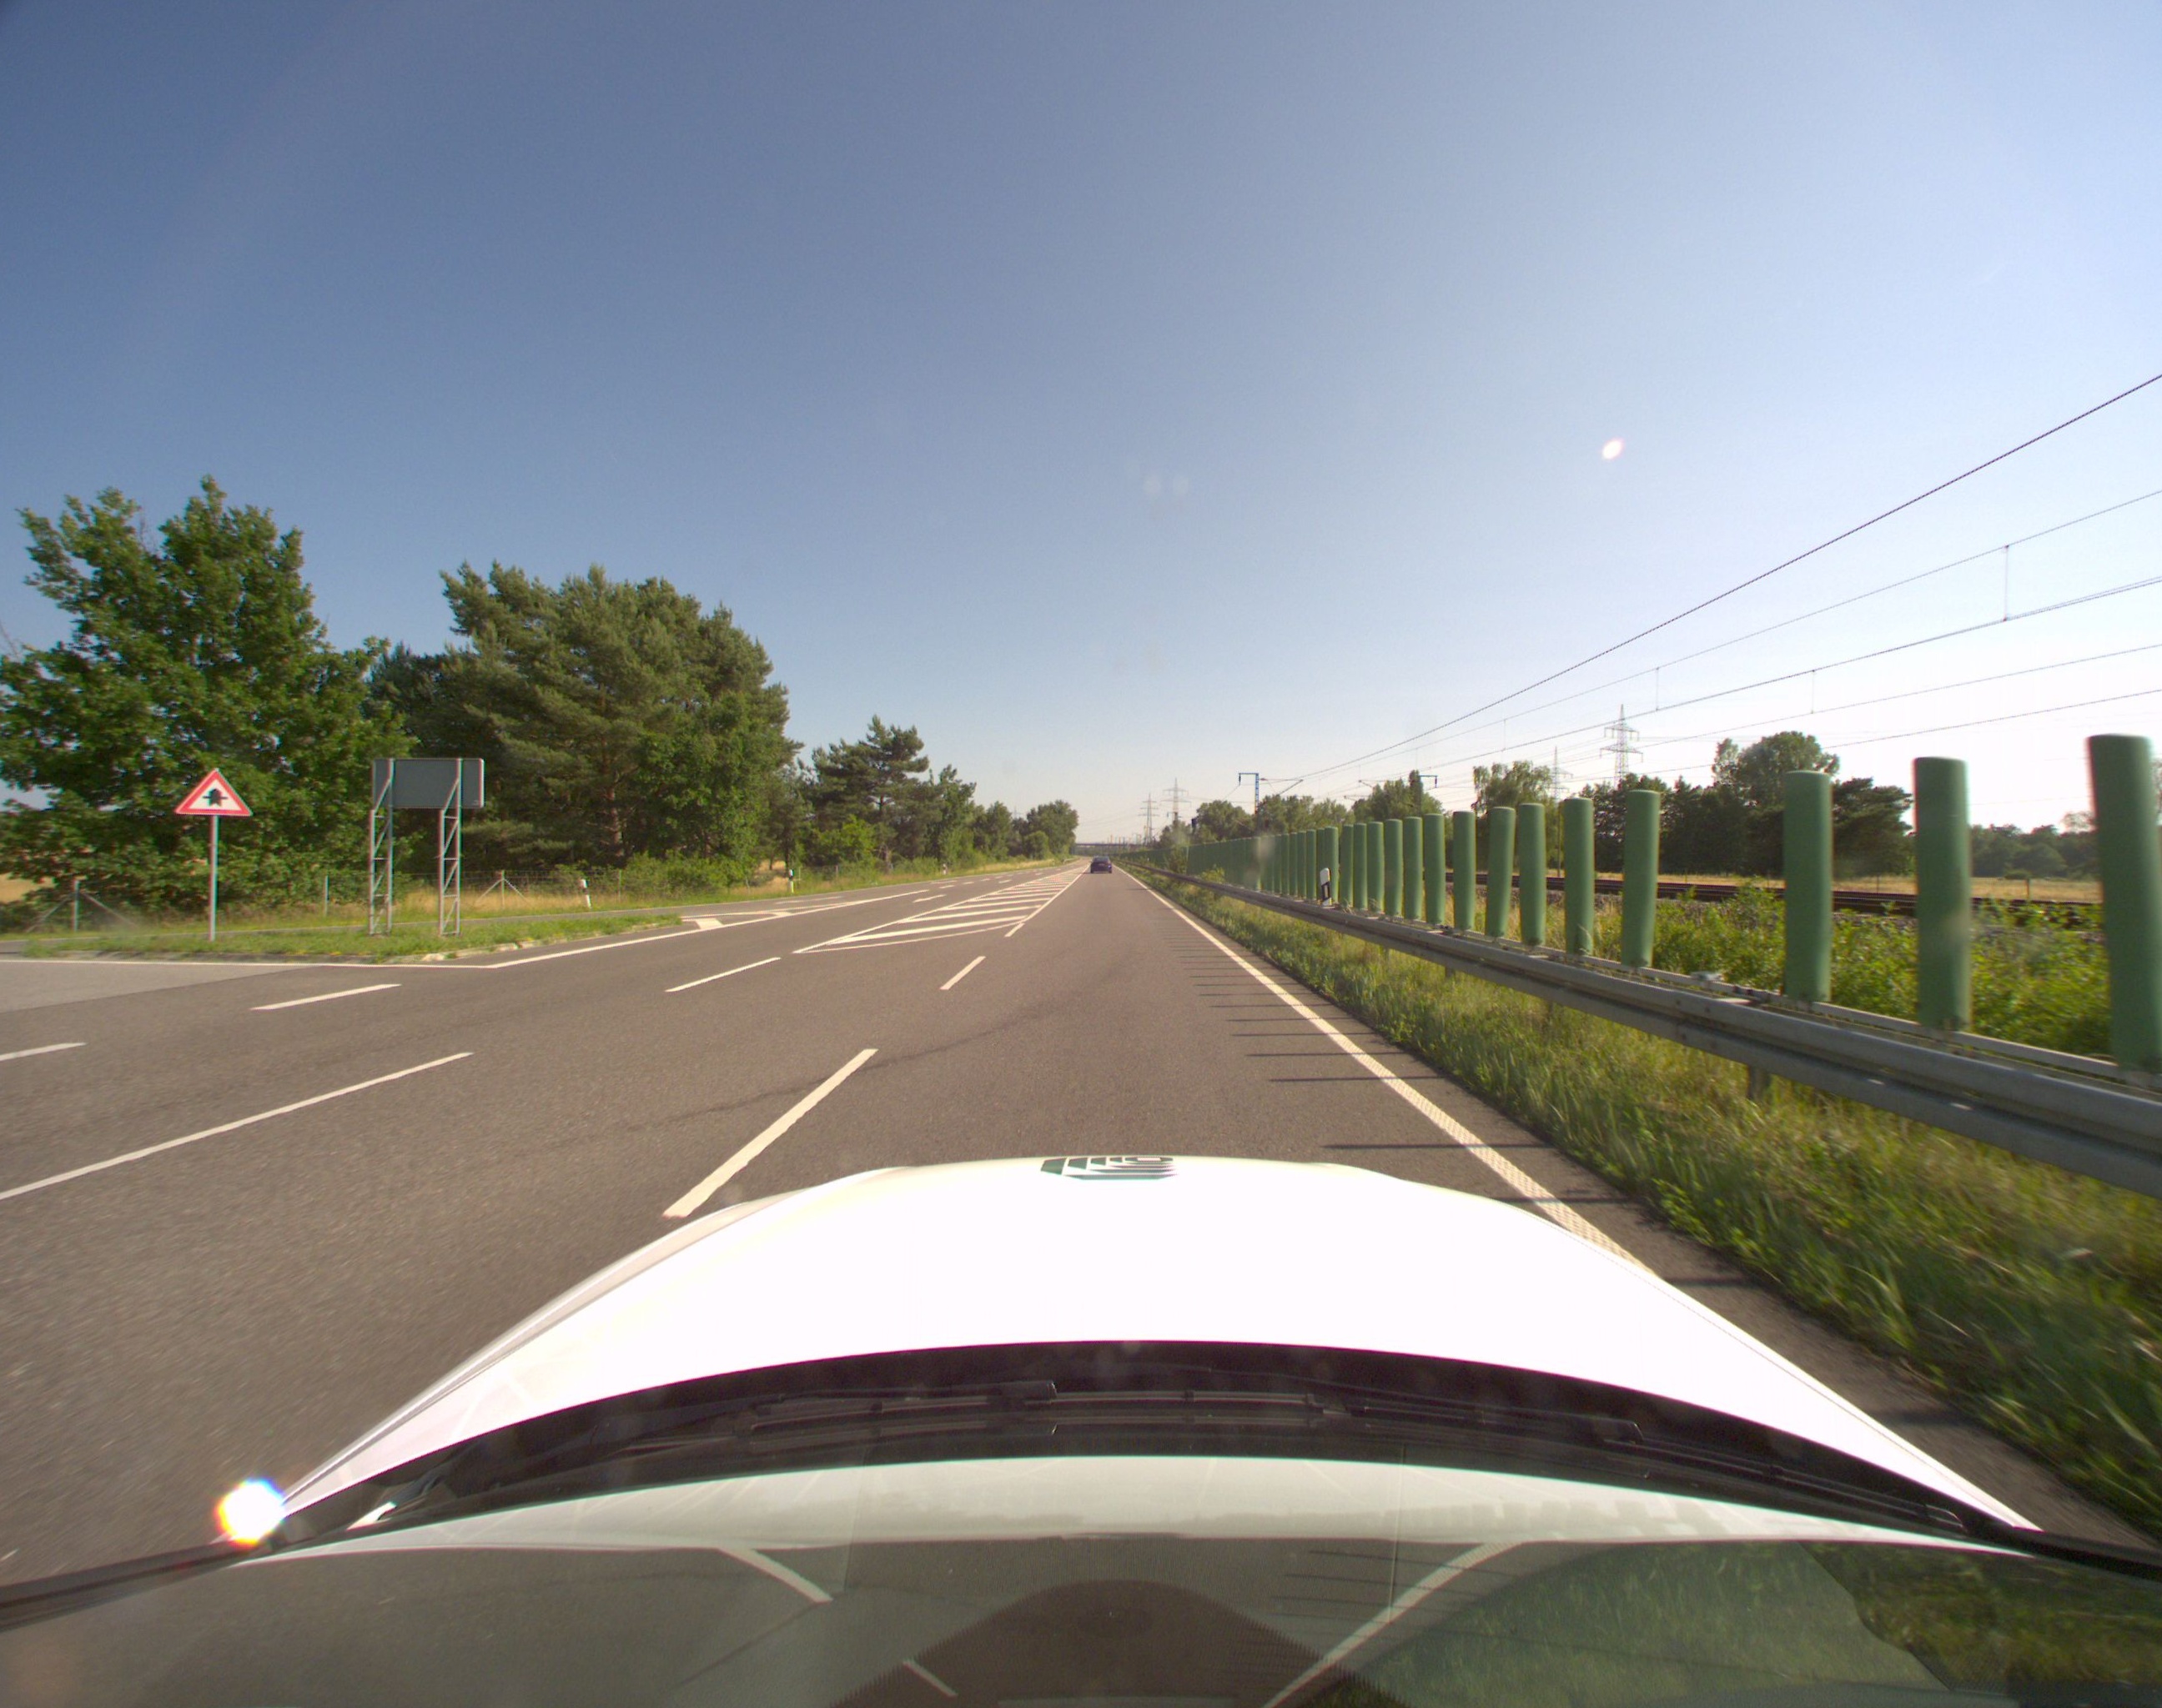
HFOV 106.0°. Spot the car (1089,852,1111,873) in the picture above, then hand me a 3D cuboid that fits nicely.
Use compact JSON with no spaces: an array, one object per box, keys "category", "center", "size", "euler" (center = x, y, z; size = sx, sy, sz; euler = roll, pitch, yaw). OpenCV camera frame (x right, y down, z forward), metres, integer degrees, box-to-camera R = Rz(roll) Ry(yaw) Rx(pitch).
[{"category":"car","center":[1.656,0.720,70.059],"size":[1.852,1.642,4.002],"euler":[-2,0,2]}]
